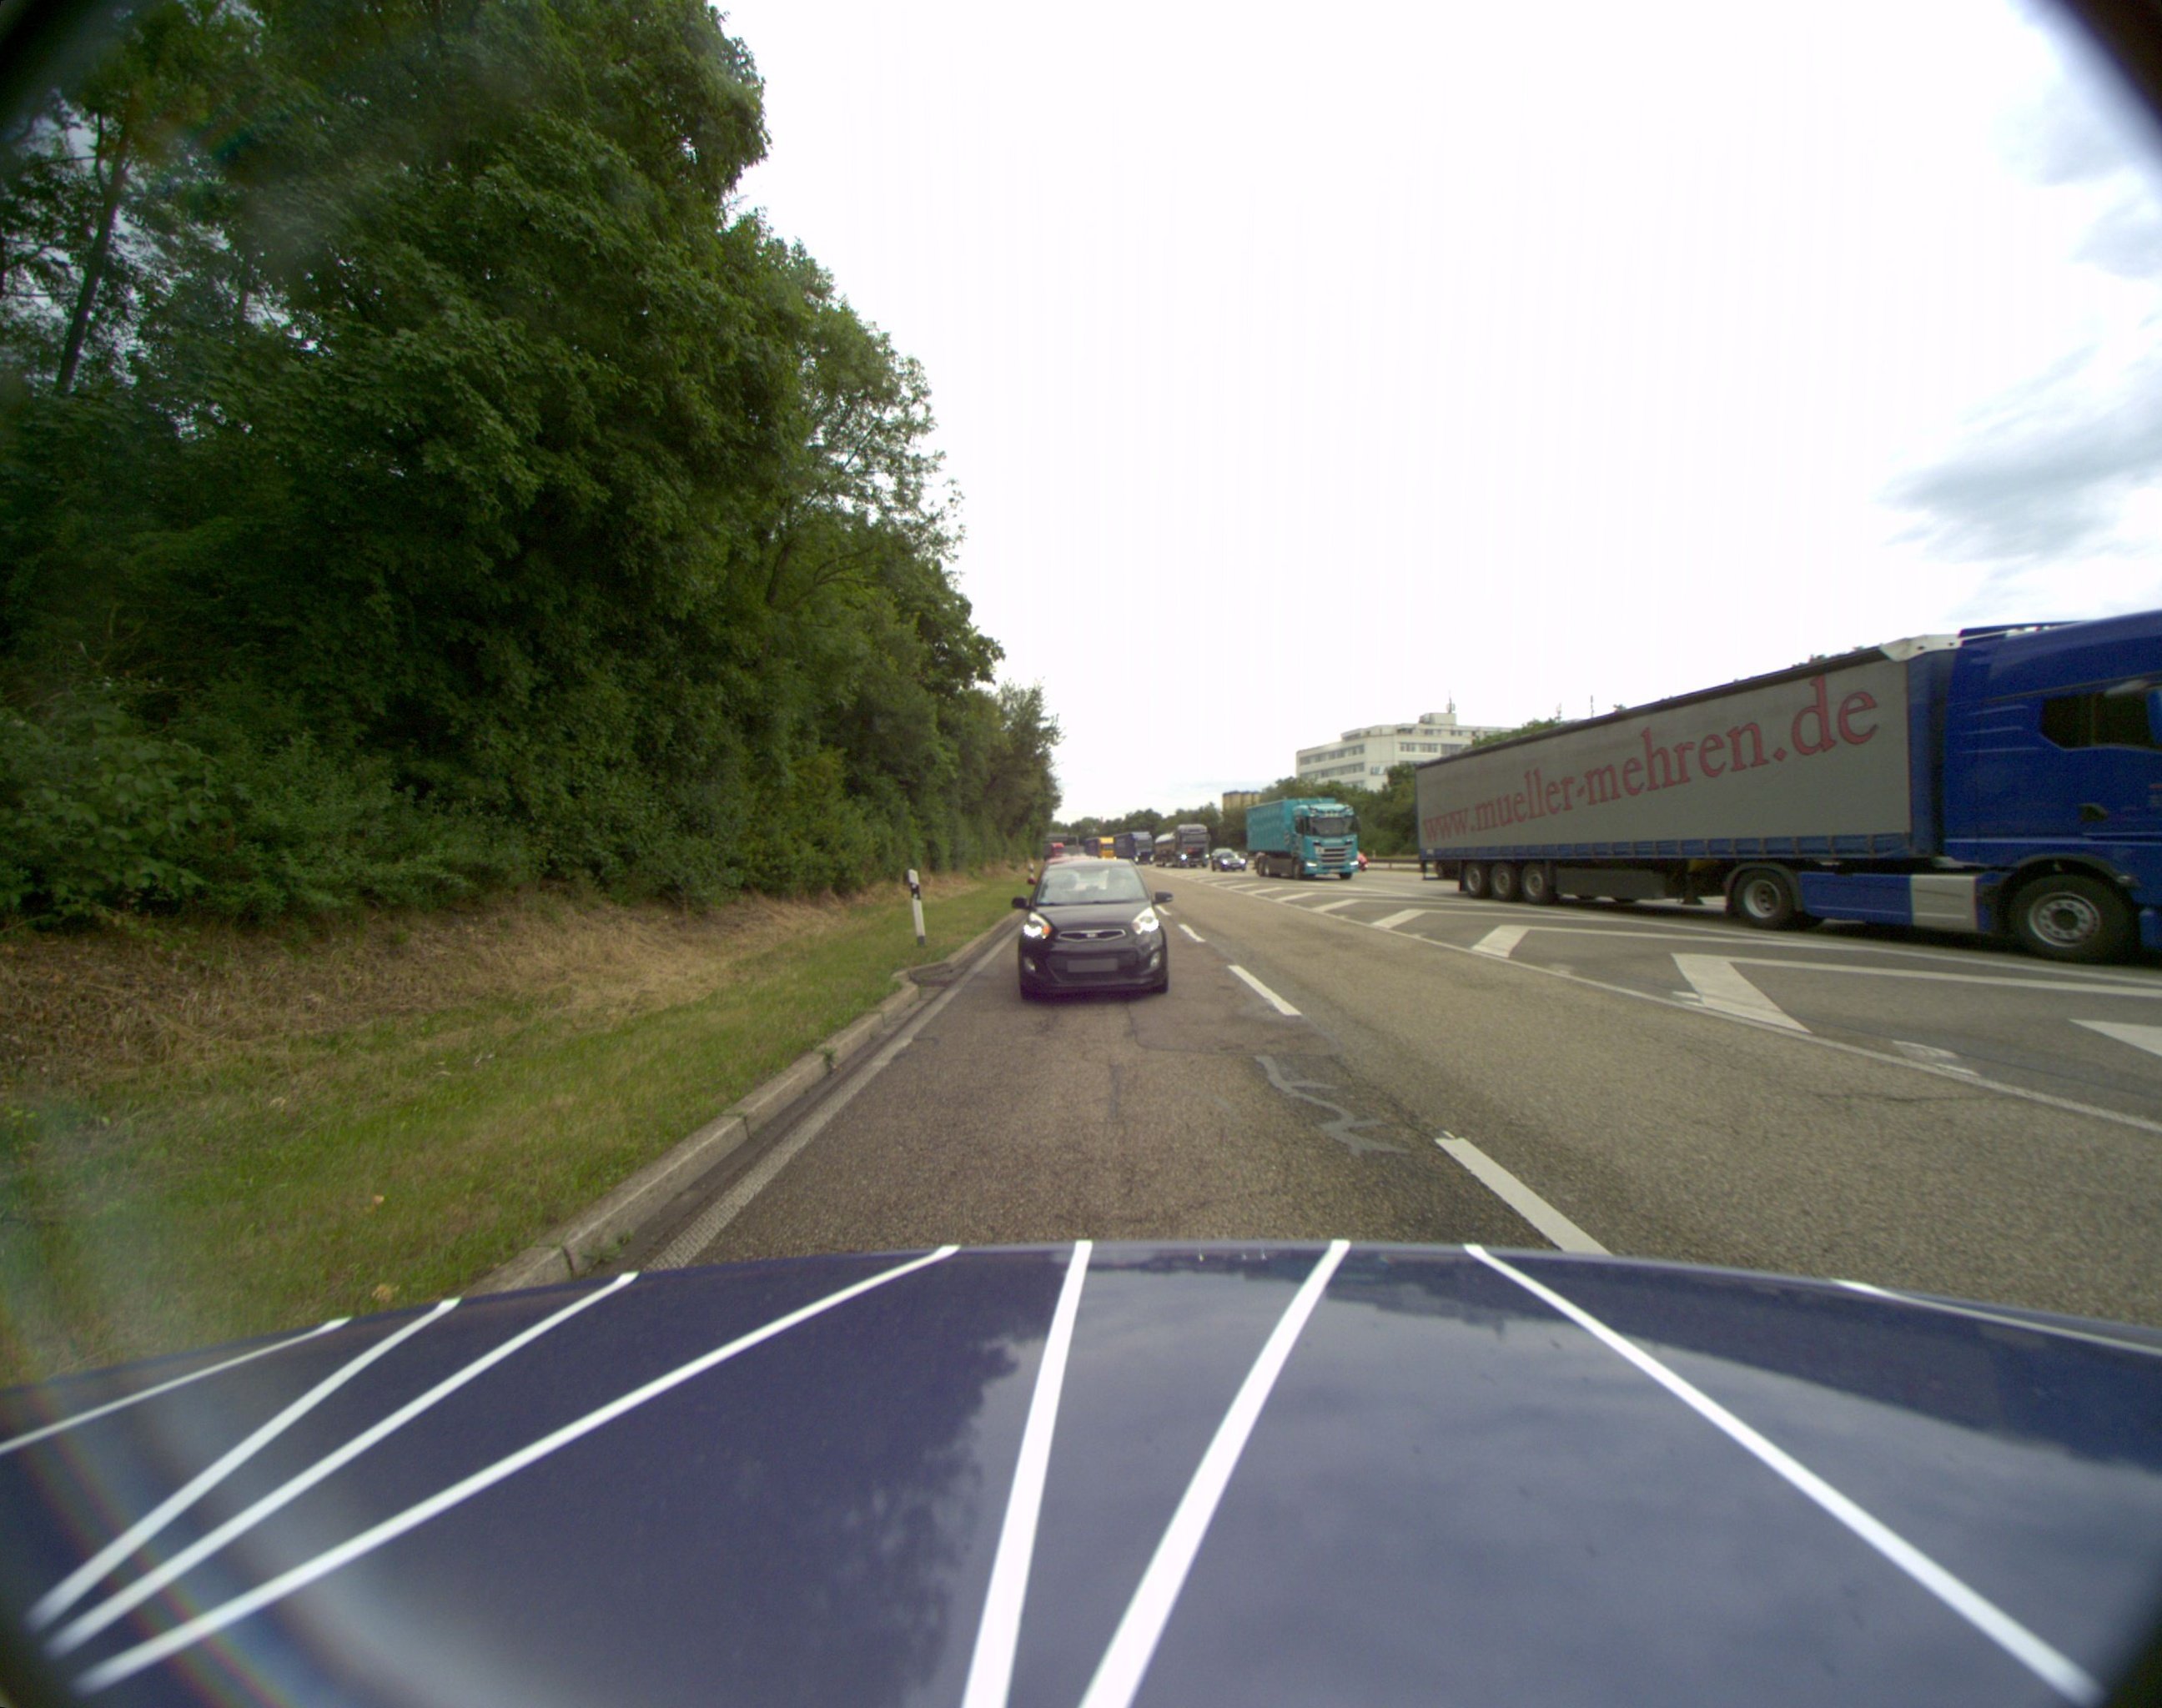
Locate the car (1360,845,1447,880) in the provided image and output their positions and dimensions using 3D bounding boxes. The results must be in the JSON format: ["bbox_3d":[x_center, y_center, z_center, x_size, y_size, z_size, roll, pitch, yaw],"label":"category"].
[{"bbox_3d":[13.957,0.339,33.138,1.898,1.425,3.999,-1,0,-3],"label":"car"}]

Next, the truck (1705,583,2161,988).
[{"bbox_3d":[11.809,-0.704,9.719,2.676,3.938,5.926,-2,0,-1],"label":"truck"}]

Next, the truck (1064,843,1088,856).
[{"bbox_3d":[-1.562,-1.365,226.045,3.136,3.605,13.886,-2,0,-16],"label":"truck"}]

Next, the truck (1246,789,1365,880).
[{"bbox_3d":[11.002,-0.891,38.614,2.700,3.977,10.122,-2,0,-2],"label":"truck"}]

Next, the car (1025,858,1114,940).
[{"bbox_3d":[-0.210,0.859,16.114,1.630,1.492,3.564,-1,0,0],"label":"car"}]

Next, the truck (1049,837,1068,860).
[{"bbox_3d":[-5.385,-1.333,178.515,2.848,5.070,14.111,-2,0,-8],"label":"truck"}]

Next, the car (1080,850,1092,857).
[{"bbox_3d":[0.962,-0.102,144.048,1.636,1.328,3.192,-1,0,-10],"label":"car"}]

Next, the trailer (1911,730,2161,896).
[{"bbox_3d":[27.313,-1.003,17.312,2.404,4.006,13.075,-1,0,-1],"label":"trailer"}]

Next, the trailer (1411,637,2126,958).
[{"bbox_3d":[11.671,-0.737,16.485,2.680,3.951,13.917,-2,0,-1],"label":"trailer"}]

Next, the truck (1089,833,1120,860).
[{"bbox_3d":[3.842,-1.168,127.038,2.848,4.206,14.111,-2,0,-8],"label":"truck"}]

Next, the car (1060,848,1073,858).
[{"bbox_3d":[-2.668,-0.199,136.898,1.907,1.653,4.749,-1,1,-6],"label":"car"}]

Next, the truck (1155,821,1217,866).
[{"bbox_3d":[9.874,-0.936,73.124,3.328,3.903,13.140,-2,0,-3],"label":"truck"}]

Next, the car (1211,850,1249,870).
[{"bbox_3d":[10.564,0.428,54.105,1.757,1.314,3.999,-2,0,-2],"label":"car"}]

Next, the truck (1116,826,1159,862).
[{"bbox_3d":[7.123,-1.240,98.916,2.815,4.206,13.997,-2,0,-7],"label":"truck"}]

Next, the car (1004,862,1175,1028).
[{"bbox_3d":[0.132,0.894,9.258,1.584,1.485,4.000,-2,0,1],"label":"car"}]

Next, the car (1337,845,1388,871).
[{"bbox_3d":[16.703,0.219,45.266,1.746,1.410,3.447,-1,0,1],"label":"car"}]

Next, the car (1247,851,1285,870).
[{"bbox_3d":[14.886,0.508,61.270,1.898,1.425,4.054,-1,0,-3],"label":"car"}]
